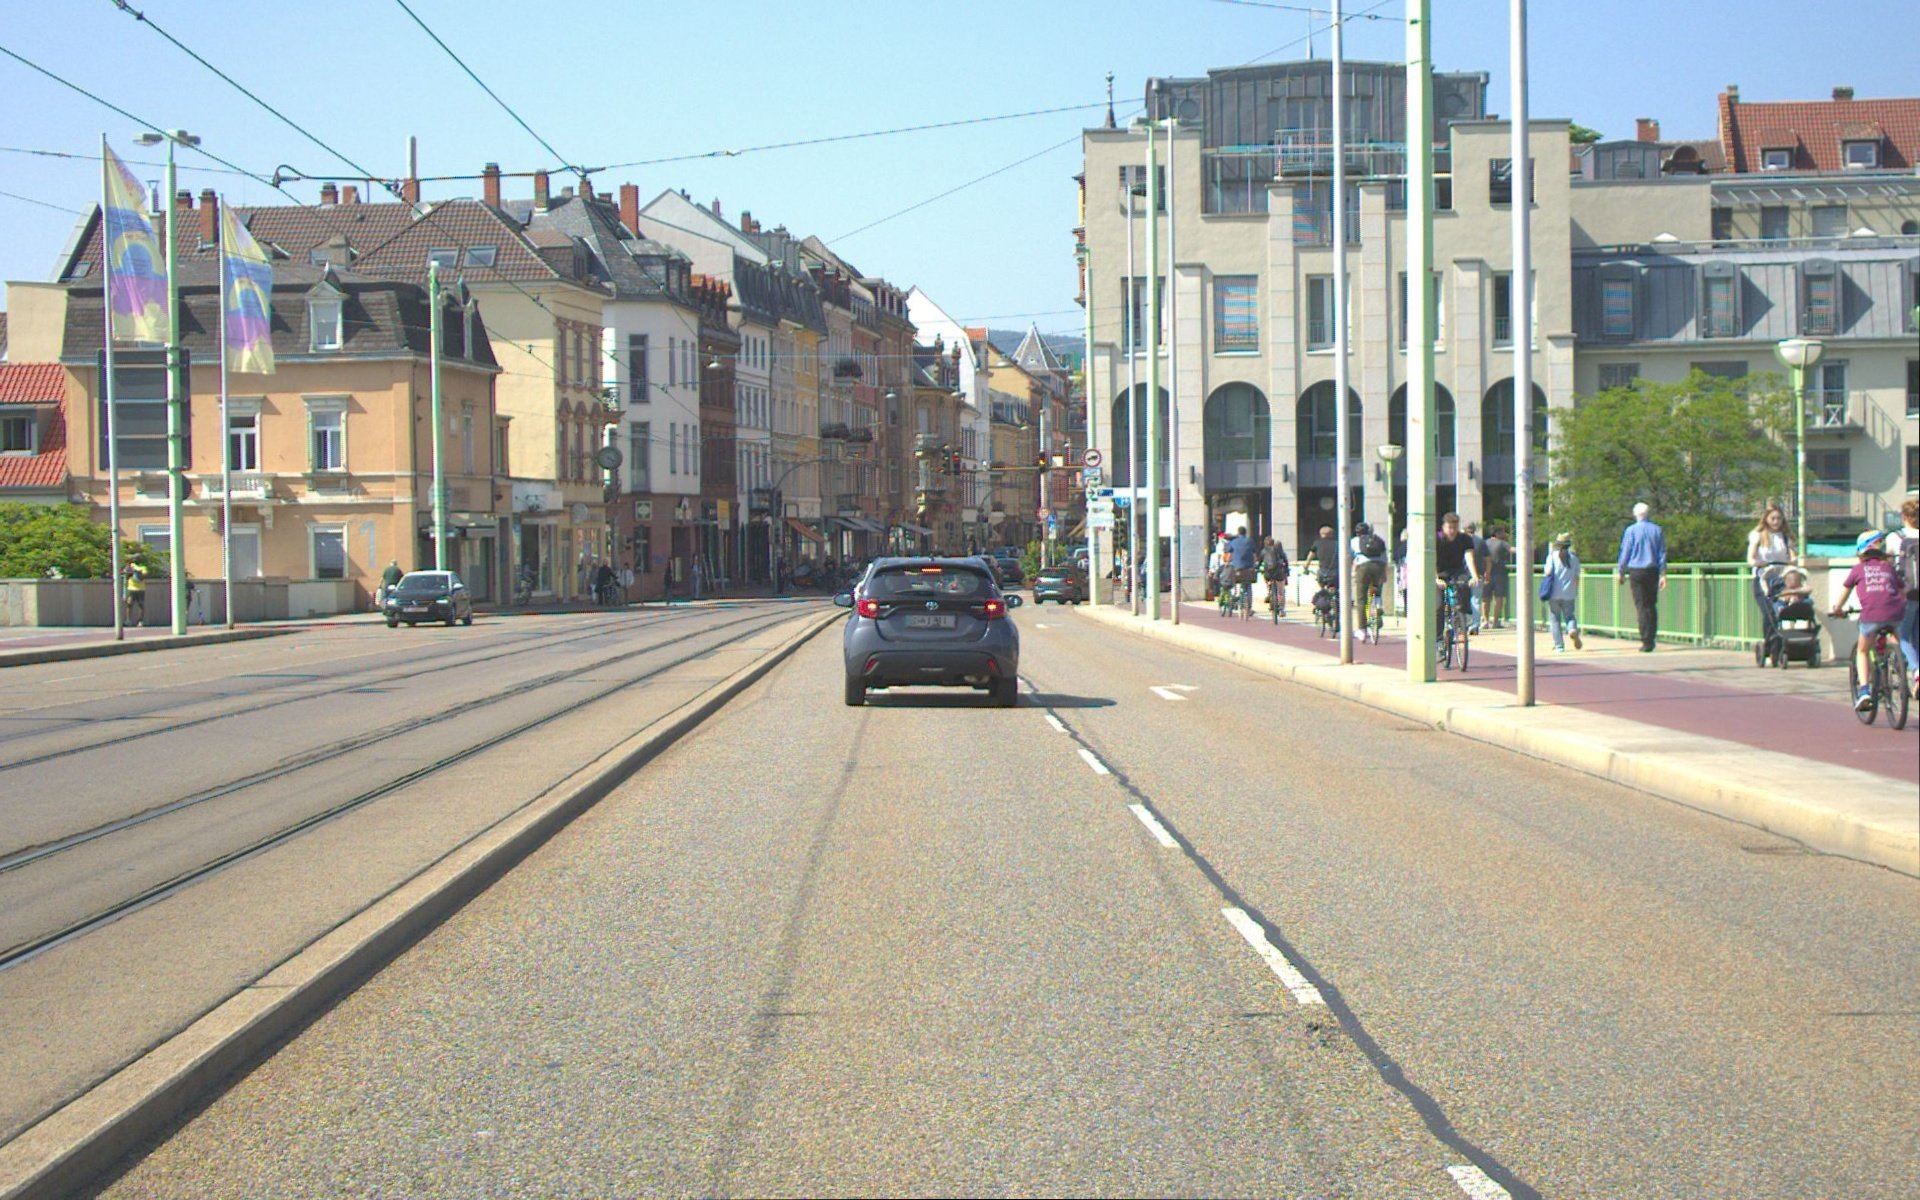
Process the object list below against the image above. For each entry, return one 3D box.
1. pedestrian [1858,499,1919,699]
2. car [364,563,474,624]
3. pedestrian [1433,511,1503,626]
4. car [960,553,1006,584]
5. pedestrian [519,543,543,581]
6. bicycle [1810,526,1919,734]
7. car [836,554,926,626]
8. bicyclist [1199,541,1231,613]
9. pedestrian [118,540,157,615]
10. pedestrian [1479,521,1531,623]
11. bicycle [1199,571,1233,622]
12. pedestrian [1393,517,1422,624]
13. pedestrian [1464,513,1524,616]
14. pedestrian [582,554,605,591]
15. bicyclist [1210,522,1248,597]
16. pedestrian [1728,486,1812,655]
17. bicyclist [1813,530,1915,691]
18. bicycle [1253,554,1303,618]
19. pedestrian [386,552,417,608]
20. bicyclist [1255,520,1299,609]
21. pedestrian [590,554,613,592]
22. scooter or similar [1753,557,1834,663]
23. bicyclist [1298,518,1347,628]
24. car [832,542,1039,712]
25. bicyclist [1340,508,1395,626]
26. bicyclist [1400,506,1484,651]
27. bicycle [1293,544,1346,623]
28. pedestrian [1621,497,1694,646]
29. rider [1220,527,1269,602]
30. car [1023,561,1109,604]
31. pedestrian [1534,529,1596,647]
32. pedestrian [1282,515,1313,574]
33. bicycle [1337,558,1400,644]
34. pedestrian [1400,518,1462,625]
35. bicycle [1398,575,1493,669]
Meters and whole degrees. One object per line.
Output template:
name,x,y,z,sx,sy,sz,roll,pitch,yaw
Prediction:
pedestrian,7.655,-0.017,27.644,0.599,1.580,0.867,-1,1,-3
car,-14.020,-0.195,89.295,1.994,1.474,4.000,-1,1,4
pedestrian,7.868,-0.501,53.269,0.929,1.755,0.938,-1,1,-1
car,1.113,-1.501,164.354,1.878,1.404,4.000,-1,1,4
pedestrian,-15.992,-1.422,128.241,0.763,1.393,0.663,-1,1,2
bicycle,6.273,0.176,23.856,0.534,1.362,2.215,0,1,9
car,-1.773,-0.235,76.132,1.803,1.464,4.001,-2,1,-3
bicyclist,5.475,-0.507,73.822,0.651,1.524,0.975,-1,1,2
pedestrian,-19.825,-0.552,82.878,0.763,1.780,0.663,-1,1,2
pedestrian,8.862,-0.459,55.920,0.712,1.645,0.848,-1,1,1
bicycle,5.484,-0.081,73.719,0.666,1.046,2.029,-1,1,2
pedestrian,7.590,-0.503,58.285,0.367,1.788,0.604,1,1,-1
pedestrian,8.814,-0.591,56.814,0.834,1.683,0.869,-1,1,-1
pedestrian,-13.948,-1.051,130.928,0.763,1.393,0.663,-1,1,2
bicyclist,6.060,-0.927,77.453,0.796,1.670,0.869,-1,1,2
pedestrian,8.549,-0.317,36.288,0.641,1.750,0.867,-1,1,-3
bicyclist,6.297,0.064,23.971,0.599,1.097,0.852,0,1,9
bicycle,6.053,-0.276,65.514,0.666,1.174,2.029,-1,1,-2
pedestrian,-16.652,-0.595,102.491,0.763,1.659,0.663,-1,1,2
bicyclist,6.045,-0.678,65.531,0.715,1.670,0.869,-1,1,-2
pedestrian,-13.327,-1.013,127.710,0.763,1.393,0.663,-1,1,2
scooter or similar,8.580,0.094,35.418,0.588,1.065,0.865,-1,1,-3
bicyclist,5.641,-0.429,53.586,0.627,1.683,0.869,-1,1,-2
car,-0.313,0.227,35.529,1.910,1.535,4.001,-1,2,-3
bicyclist,5.842,-0.485,49.323,0.656,1.670,0.869,-1,1,-2
bicyclist,5.344,-0.239,38.171,0.653,1.561,1.338,-2,0,-2
bicycle,5.599,-0.269,53.613,0.526,1.174,2.029,-1,1,-2
pedestrian,8.581,-0.357,42.320,0.712,1.804,0.848,-1,1,-1
rider,5.761,-0.726,69.585,0.889,1.499,0.841,-1,1,-2
car,4.092,-0.689,132.127,1.806,1.464,3.995,-2,1,26
pedestrian,7.616,-0.163,43.297,0.613,1.460,0.848,-1,1,-1
pedestrian,8.337,-1.377,84.977,0.656,1.446,0.644,-1,1,-4
bicycle,5.846,0.003,49.292,0.593,1.174,1.940,-1,1,-2
pedestrian,7.511,-0.460,54.850,0.834,1.683,0.869,-1,1,-1
bicycle,5.365,0.229,38.107,0.653,0.978,2.178,-2,1,-2
